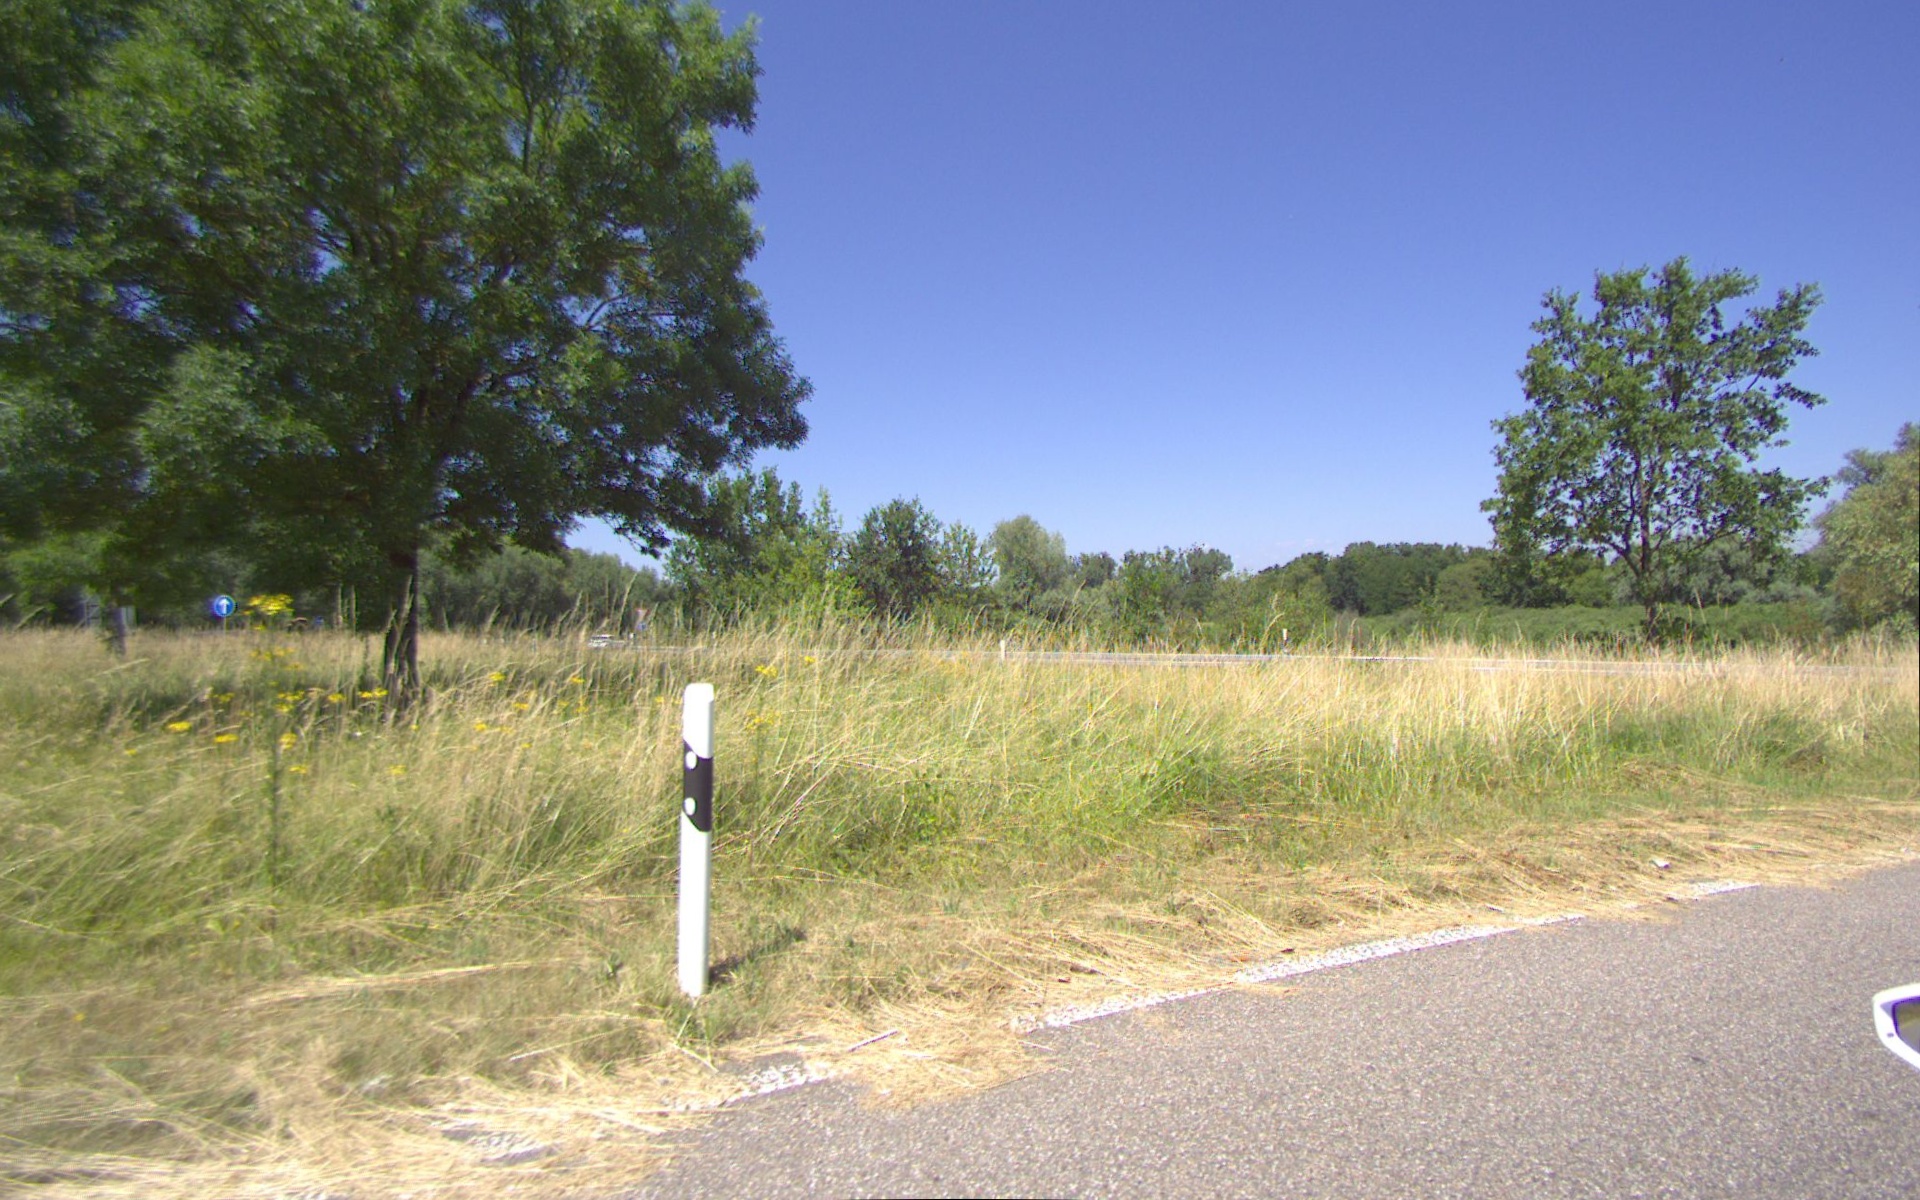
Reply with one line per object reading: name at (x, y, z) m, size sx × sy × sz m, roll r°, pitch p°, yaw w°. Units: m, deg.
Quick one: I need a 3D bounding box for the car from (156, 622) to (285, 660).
car at (-31.129, 1.709, 42.507) m, size 1.854 × 1.500 × 5.004 m, roll 0°, pitch -2°, yaw -2°
